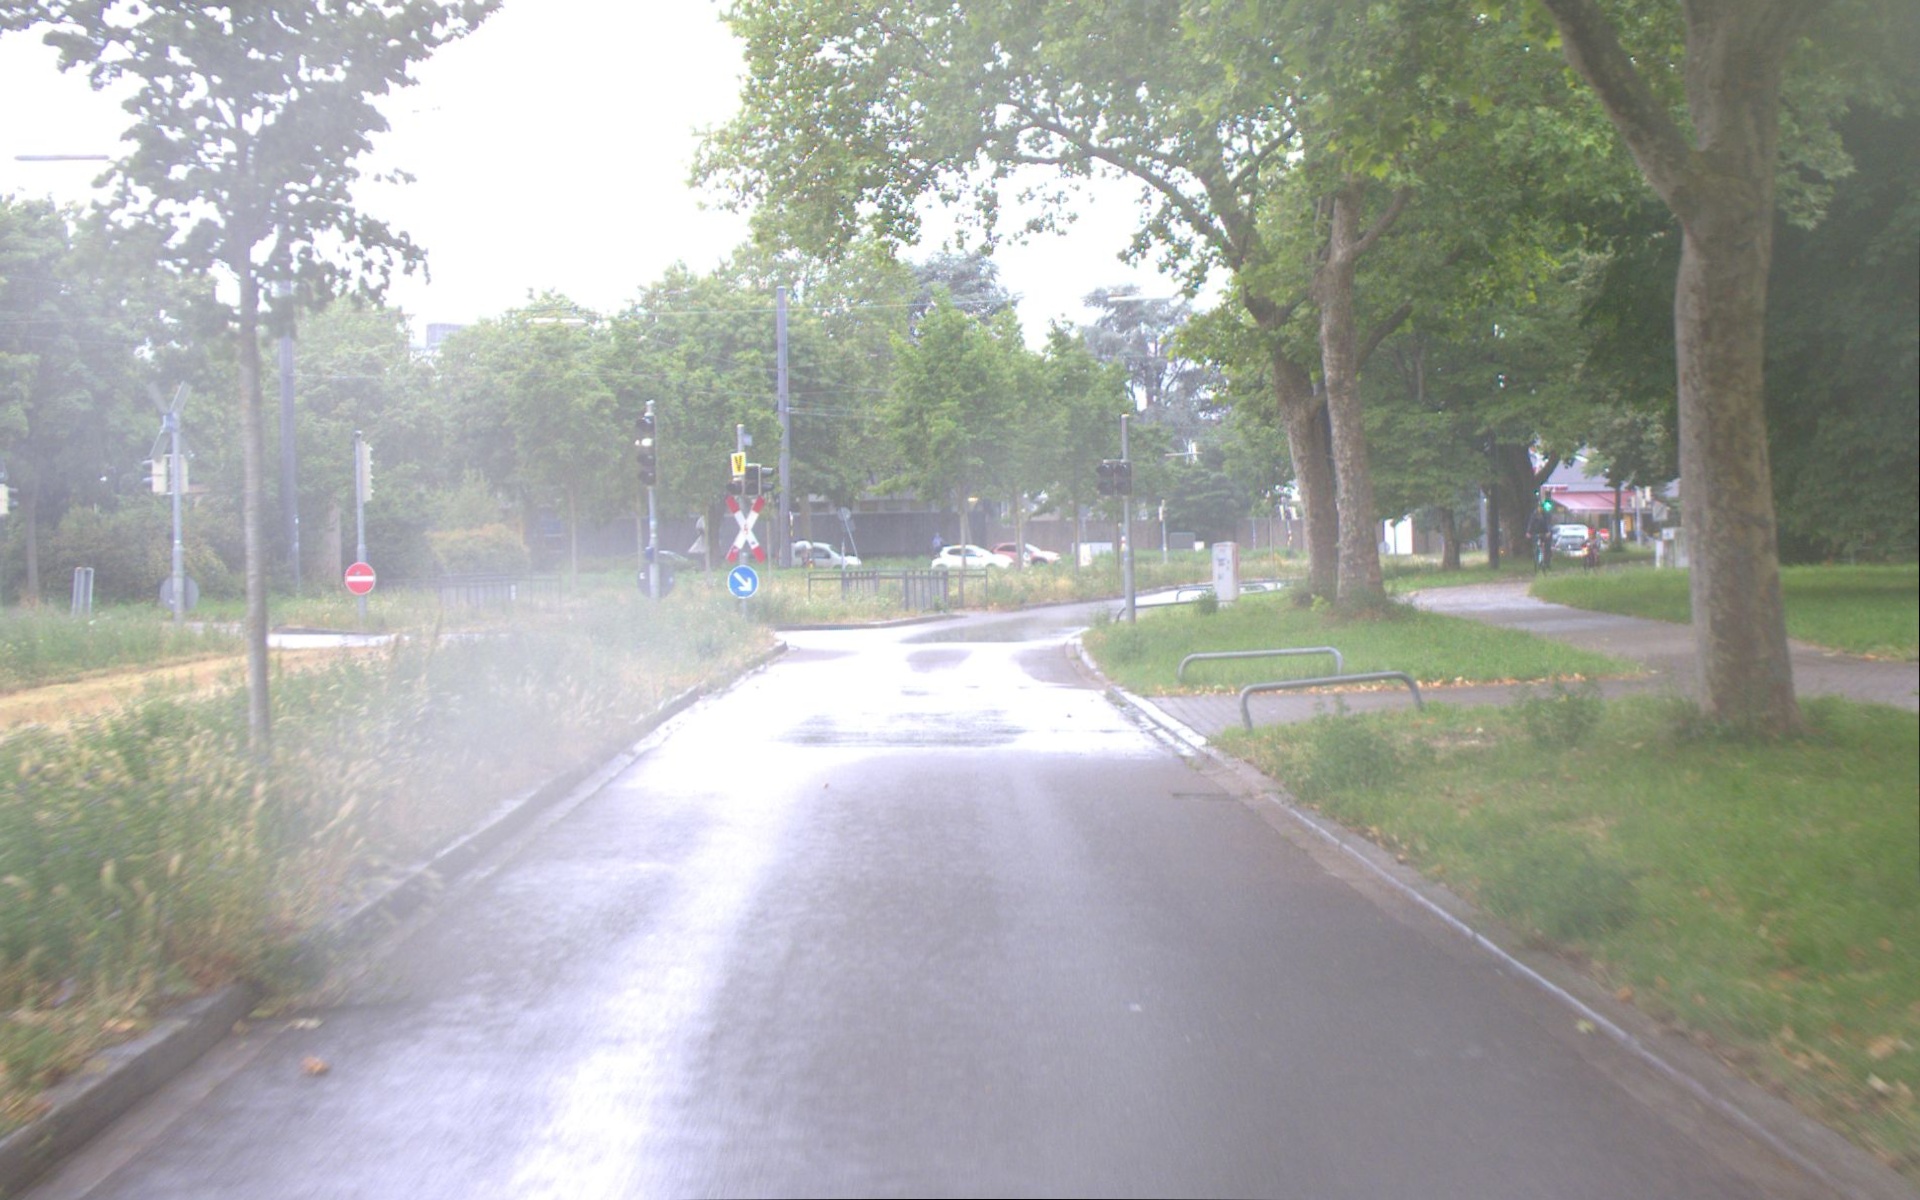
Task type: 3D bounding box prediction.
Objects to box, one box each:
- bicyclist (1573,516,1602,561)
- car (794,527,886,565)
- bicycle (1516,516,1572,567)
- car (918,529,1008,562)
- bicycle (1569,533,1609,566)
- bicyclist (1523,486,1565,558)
[{"bbox_3d":[15.011,-1.479,82.199,0.487,1.034,0.590,-1,3,29],"label":"bicyclist"},{"bbox_3d":[-5.905,-2.661,169.298,4.213,1.790,1.651,-1,2,20],"label":"car"},{"bbox_3d":[14.074,-1.412,82.788,0.712,1.138,1.969,0,3,29],"label":"bicycle"},{"bbox_3d":[0.162,-2.645,167.453,4.068,1.494,1.651,-1,1,17],"label":"car"},{"bbox_3d":[15.055,-1.207,82.272,0.487,0.706,1.455,-1,3,29],"label":"bicycle"},{"bbox_3d":[14.069,-1.878,82.787,0.712,1.715,0.956,0,3,29],"label":"bicyclist"}]
